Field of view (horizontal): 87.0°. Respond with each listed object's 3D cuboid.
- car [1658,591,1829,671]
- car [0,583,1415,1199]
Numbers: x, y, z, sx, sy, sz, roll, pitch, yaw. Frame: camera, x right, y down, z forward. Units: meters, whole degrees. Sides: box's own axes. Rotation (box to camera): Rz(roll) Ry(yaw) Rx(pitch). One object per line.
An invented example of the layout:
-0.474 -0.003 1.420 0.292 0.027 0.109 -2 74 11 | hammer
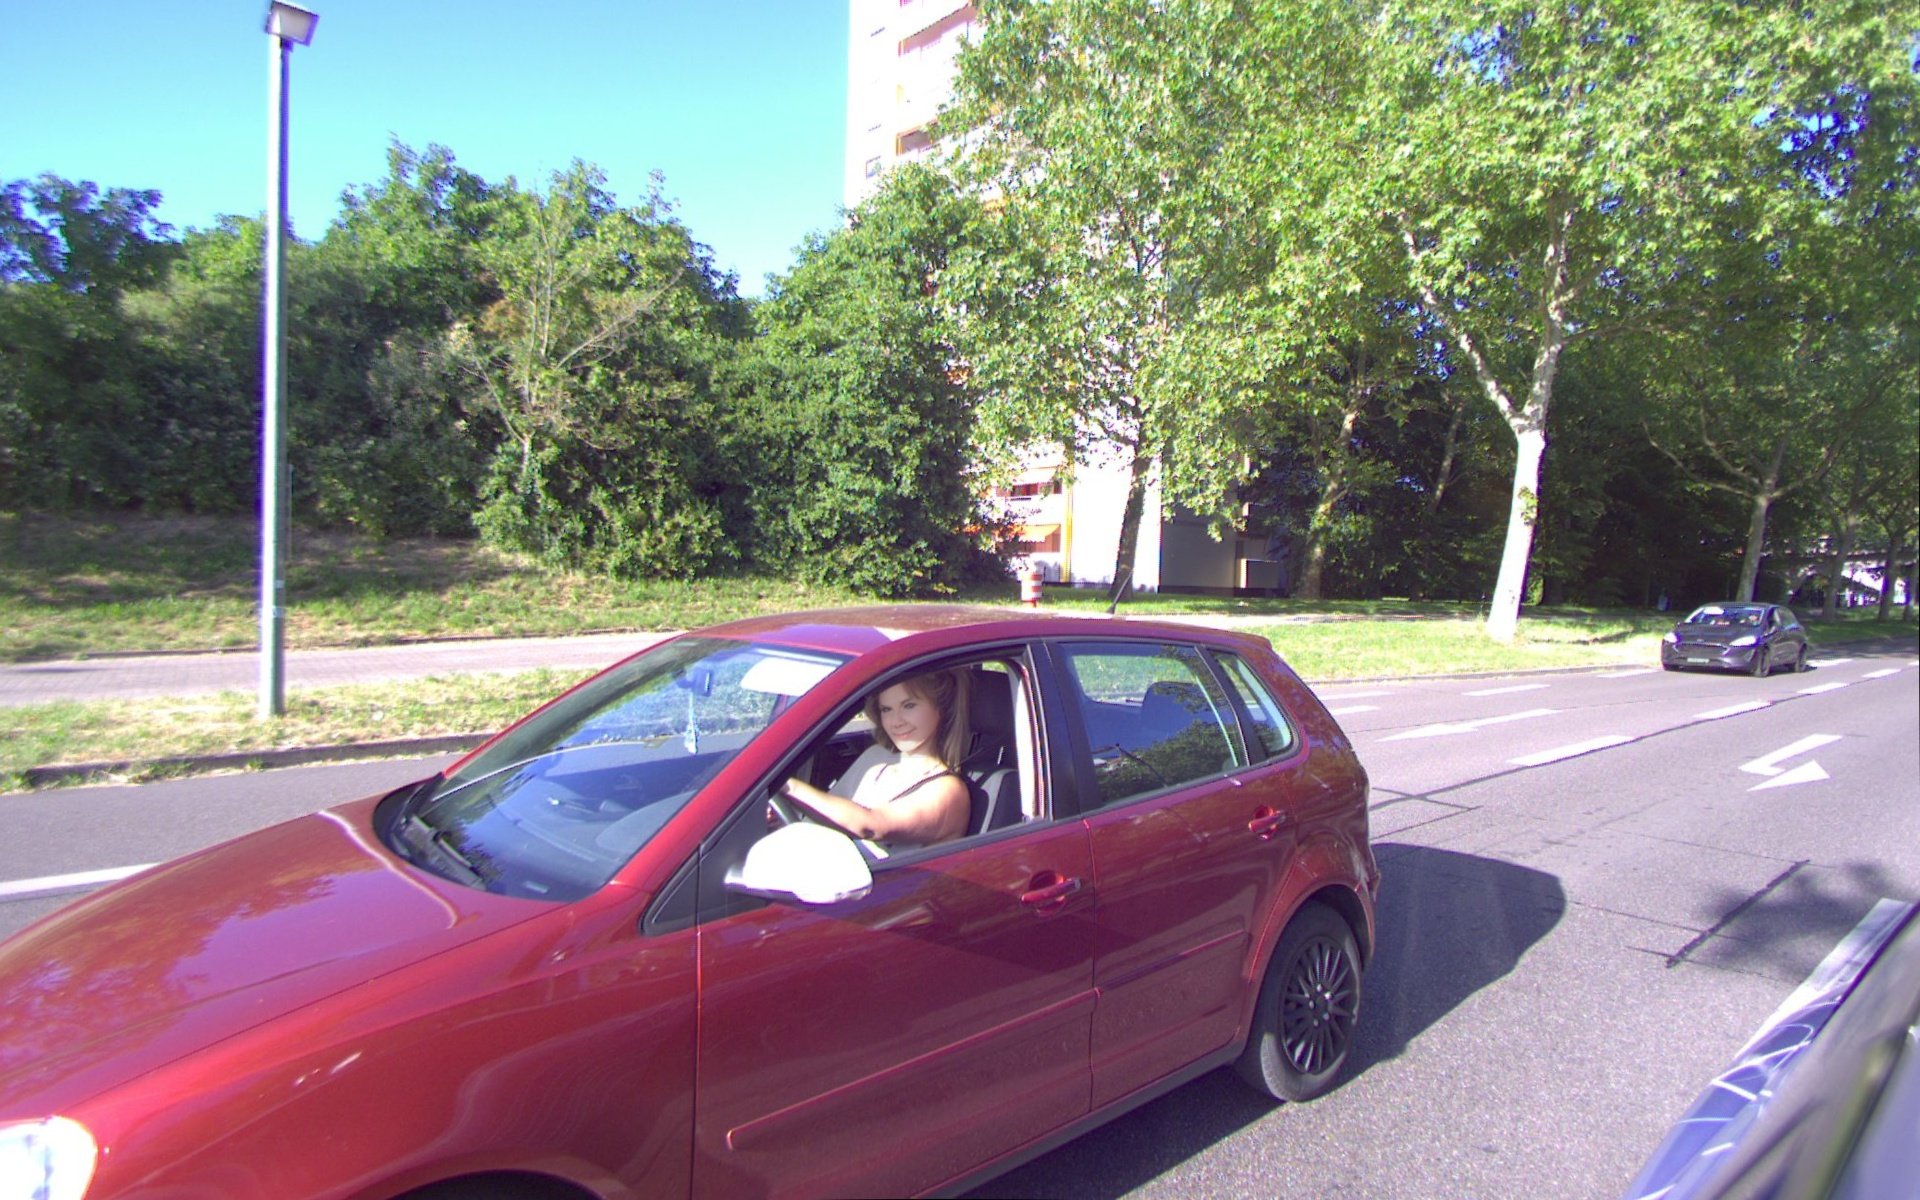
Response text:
16.301 0.573 21.019 3.818 1.487 1.752 0 1 -35 | car
-0.456 0.694 2.762 3.627 1.434 1.626 0 1 -39 | car
